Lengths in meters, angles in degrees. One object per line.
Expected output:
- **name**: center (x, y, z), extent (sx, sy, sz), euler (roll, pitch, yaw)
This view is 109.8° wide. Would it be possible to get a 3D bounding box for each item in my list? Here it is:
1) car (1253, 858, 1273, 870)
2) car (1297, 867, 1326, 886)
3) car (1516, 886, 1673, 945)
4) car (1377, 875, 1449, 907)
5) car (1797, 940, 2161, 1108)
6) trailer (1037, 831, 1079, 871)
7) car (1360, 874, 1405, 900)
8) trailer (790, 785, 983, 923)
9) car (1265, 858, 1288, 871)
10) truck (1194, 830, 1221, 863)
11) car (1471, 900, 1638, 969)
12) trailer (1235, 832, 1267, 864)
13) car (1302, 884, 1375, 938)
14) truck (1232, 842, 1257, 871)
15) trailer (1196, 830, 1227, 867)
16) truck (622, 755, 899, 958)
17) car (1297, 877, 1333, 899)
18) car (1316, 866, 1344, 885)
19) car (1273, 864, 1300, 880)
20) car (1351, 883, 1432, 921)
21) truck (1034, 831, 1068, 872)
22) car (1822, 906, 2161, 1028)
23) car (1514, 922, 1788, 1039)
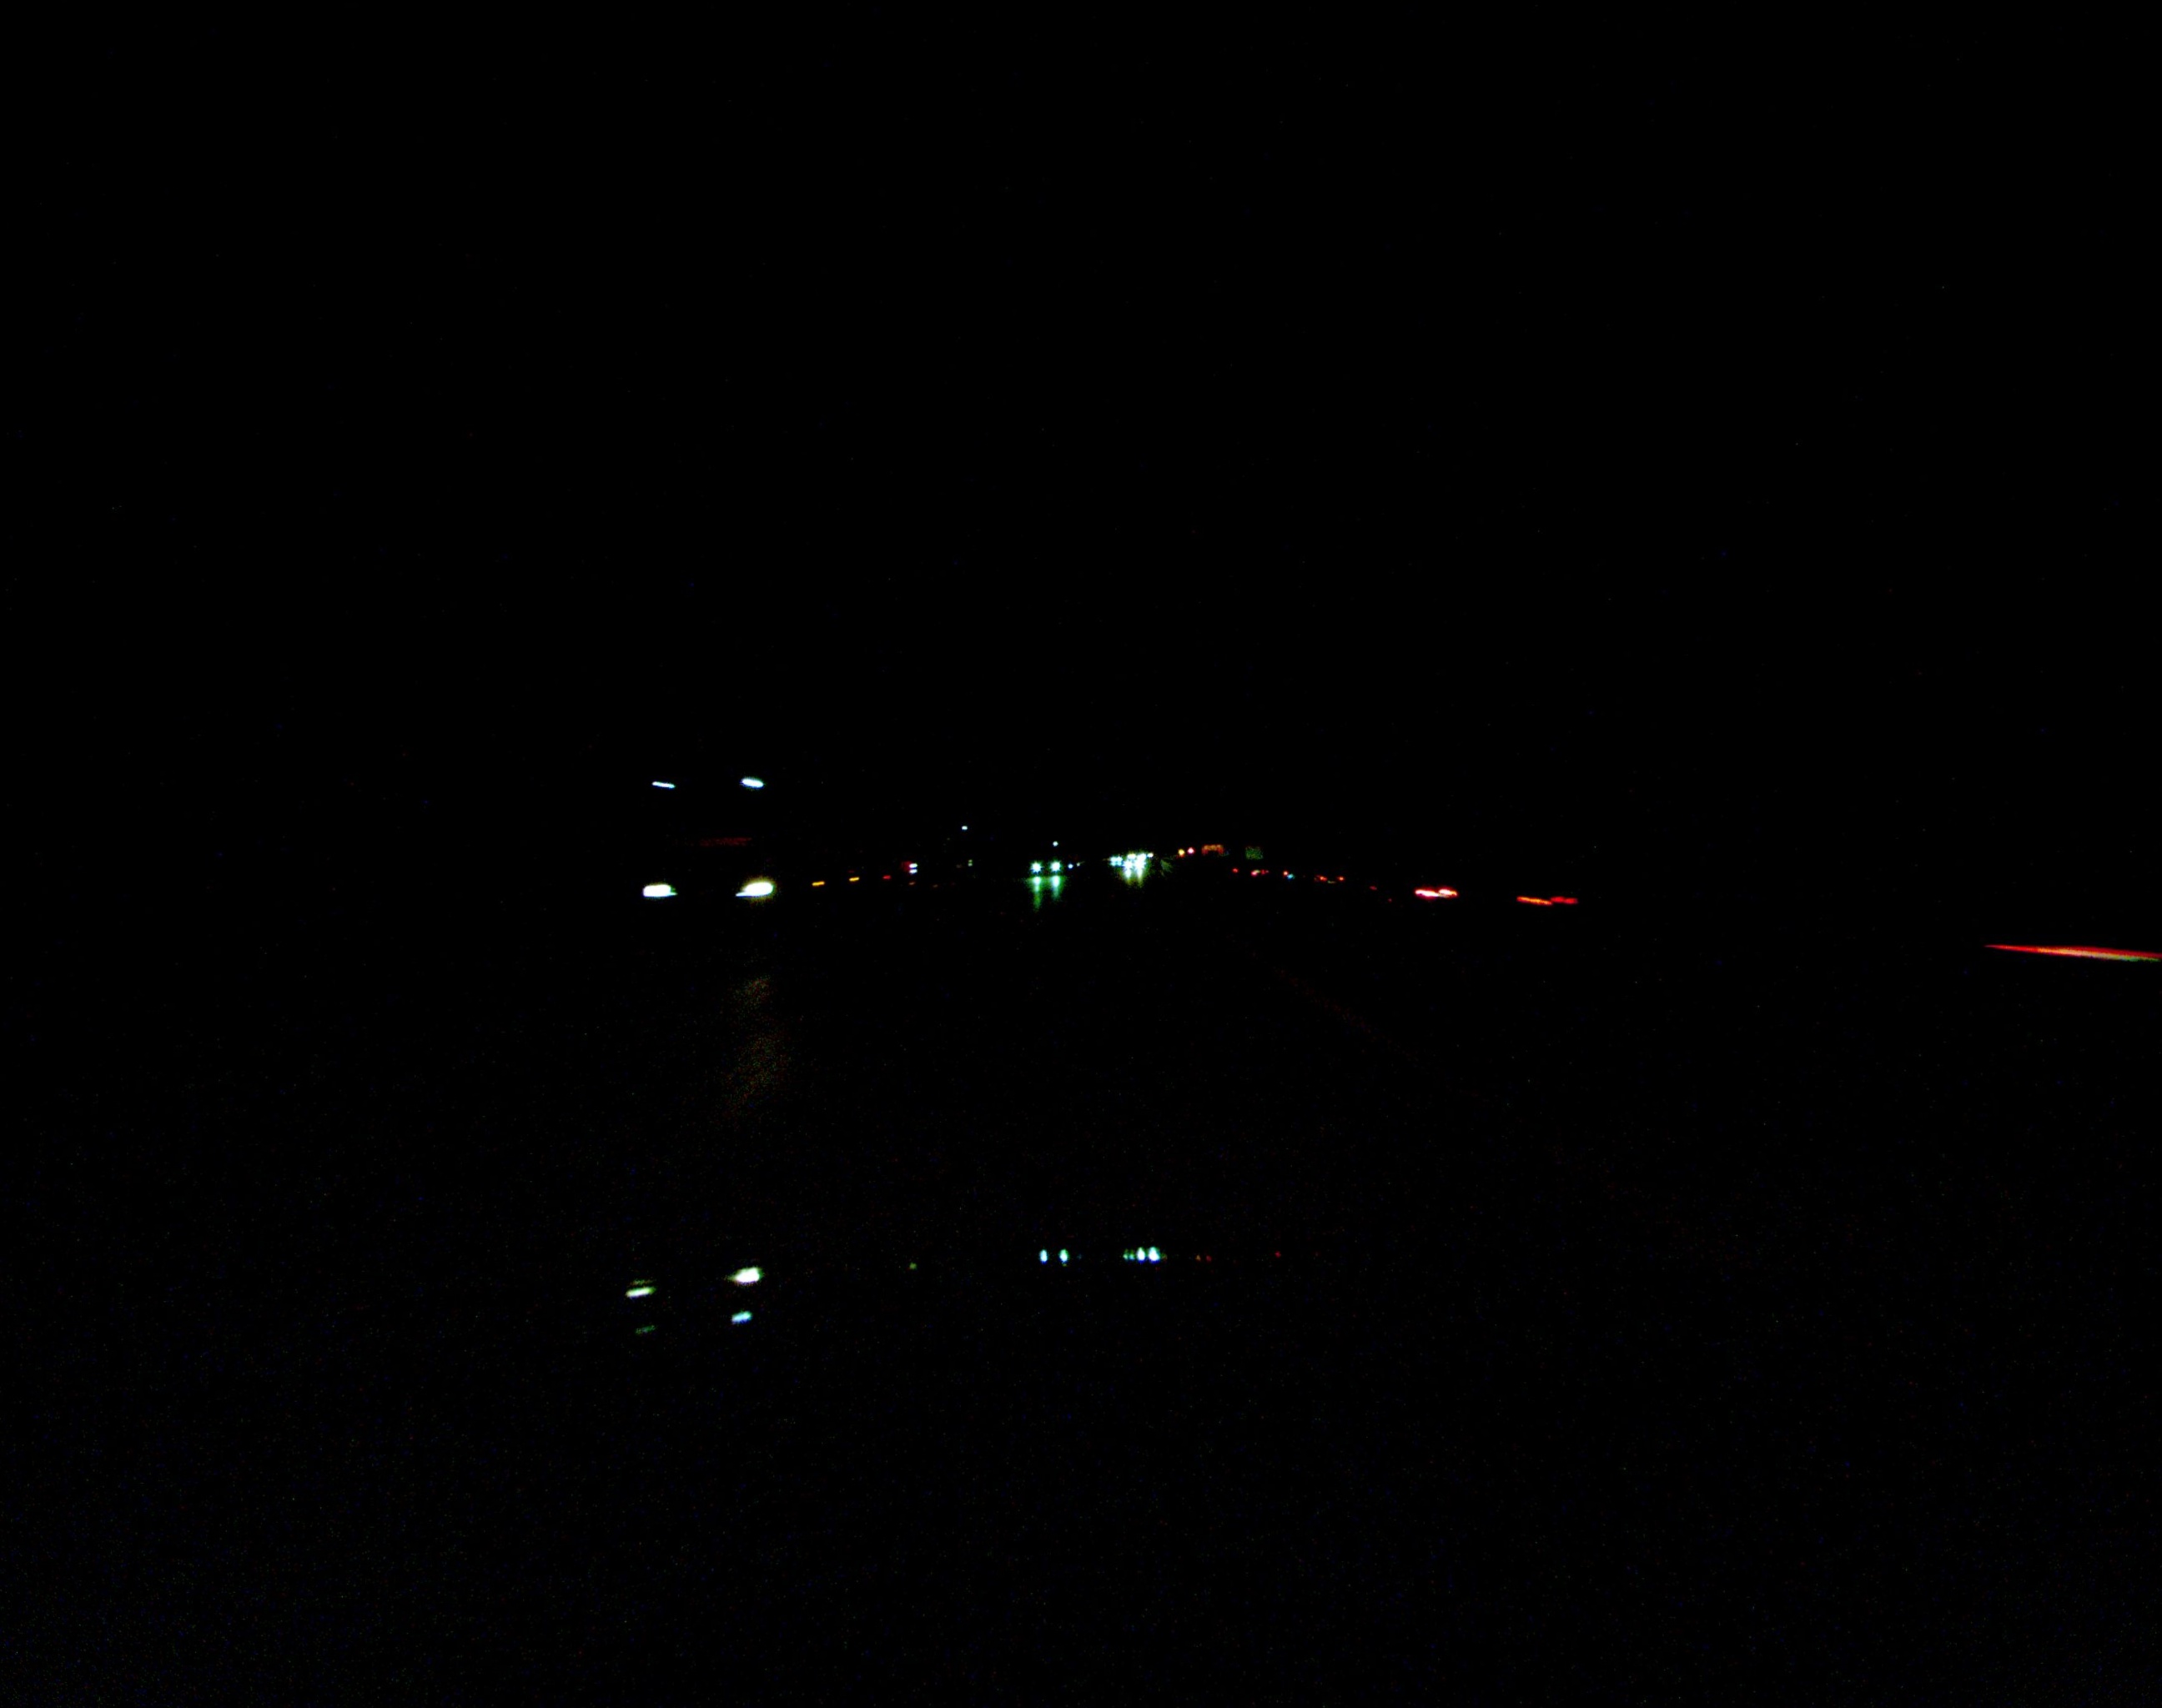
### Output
- **car**: center (23.864, 1.338, 99.791), extent (1.998, 1.482, 4.405), euler (-1, 0, 5)
- **car**: center (21.363, 2.065, 70.554), extent (1.997, 1.539, 4.141), euler (-1, 0, 8)
- **car**: center (17.743, 2.049, 26.607), extent (2.080, 1.625, 4.920), euler (-1, 0, -1)
- **car**: center (18.146, 1.987, 41.780), extent (1.907, 1.445, 4.711), euler (-1, 0, 1)
- **car**: center (12.870, 2.151, 10.642), extent (1.828, 1.449, 3.999), euler (0, 0, -2)
- **trailer**: center (-2.294, -0.284, 83.857), extent (2.839, 3.951, 15.769), euler (-1, 0, 5)
- **car**: center (19.676, 2.116, 49.691), extent (1.701, 1.390, 4.002), euler (3, 0, 7)
- **trailer**: center (-6.472, -0.098, 28.390), extent (2.880, 3.909, 12.888), euler (-2, 1, 4)
- **car**: center (23.671, 1.272, 91.982), extent (1.998, 1.482, 4.405), euler (-1, 0, 5)
- **truck**: center (14.978, -0.901, 90.581), extent (2.609, 3.721, 6.757), euler (-3, 1, 6)
- **car**: center (13.398, 2.206, 21.930), extent (1.907, 1.445, 4.711), euler (-1, 0, 1)
- **trailer**: center (25.072, -0.939, 113.012), extent (3.154, 4.290, 14.817), euler (-3, 1, 7)
- **car**: center (10.190, 2.205, 30.379), extent (1.737, 1.847, 4.001), euler (1, 0, 3)
- **truck**: center (25.686, 0.278, 119.379), extent (3.093, 4.291, 6.285), euler (-3, 1, 7)
- **trailer**: center (14.263, -0.688, 83.701), extent (2.540, 3.692, 10.129), euler (-3, 1, 6)
- **truck**: center (-7.133, 0.056, 18.642), extent (2.873, 3.817, 8.056), euler (-2, 0, 3)
- **car**: center (15.879, 2.255, 51.727), extent (1.722, 1.295, 4.002), euler (0, 0, 7)
- **car**: center (20.385, 1.763, 62.290), extent (1.709, 1.368, 4.003), euler (-1, 0, 11)
- **car**: center (21.205, 1.861, 78.612), extent (1.998, 1.482, 4.405), euler (-1, 0, 5)
- **car**: center (14.362, 2.174, 35.469), extent (1.907, 1.445, 4.711), euler (-1, 0, 1)
- **truck**: center (-2.952, -0.251, 75.791), extent (2.899, 3.948, 4.001), euler (-1, 0, 5)
- **car**: center (17.109, 2.008, 14.628), extent (1.757, 1.706, 3.999), euler (-1, 0, -1)
- **car**: center (10.218, 2.185, 14.125), extent (1.821, 1.460, 4.279), euler (0, 0, -1)
